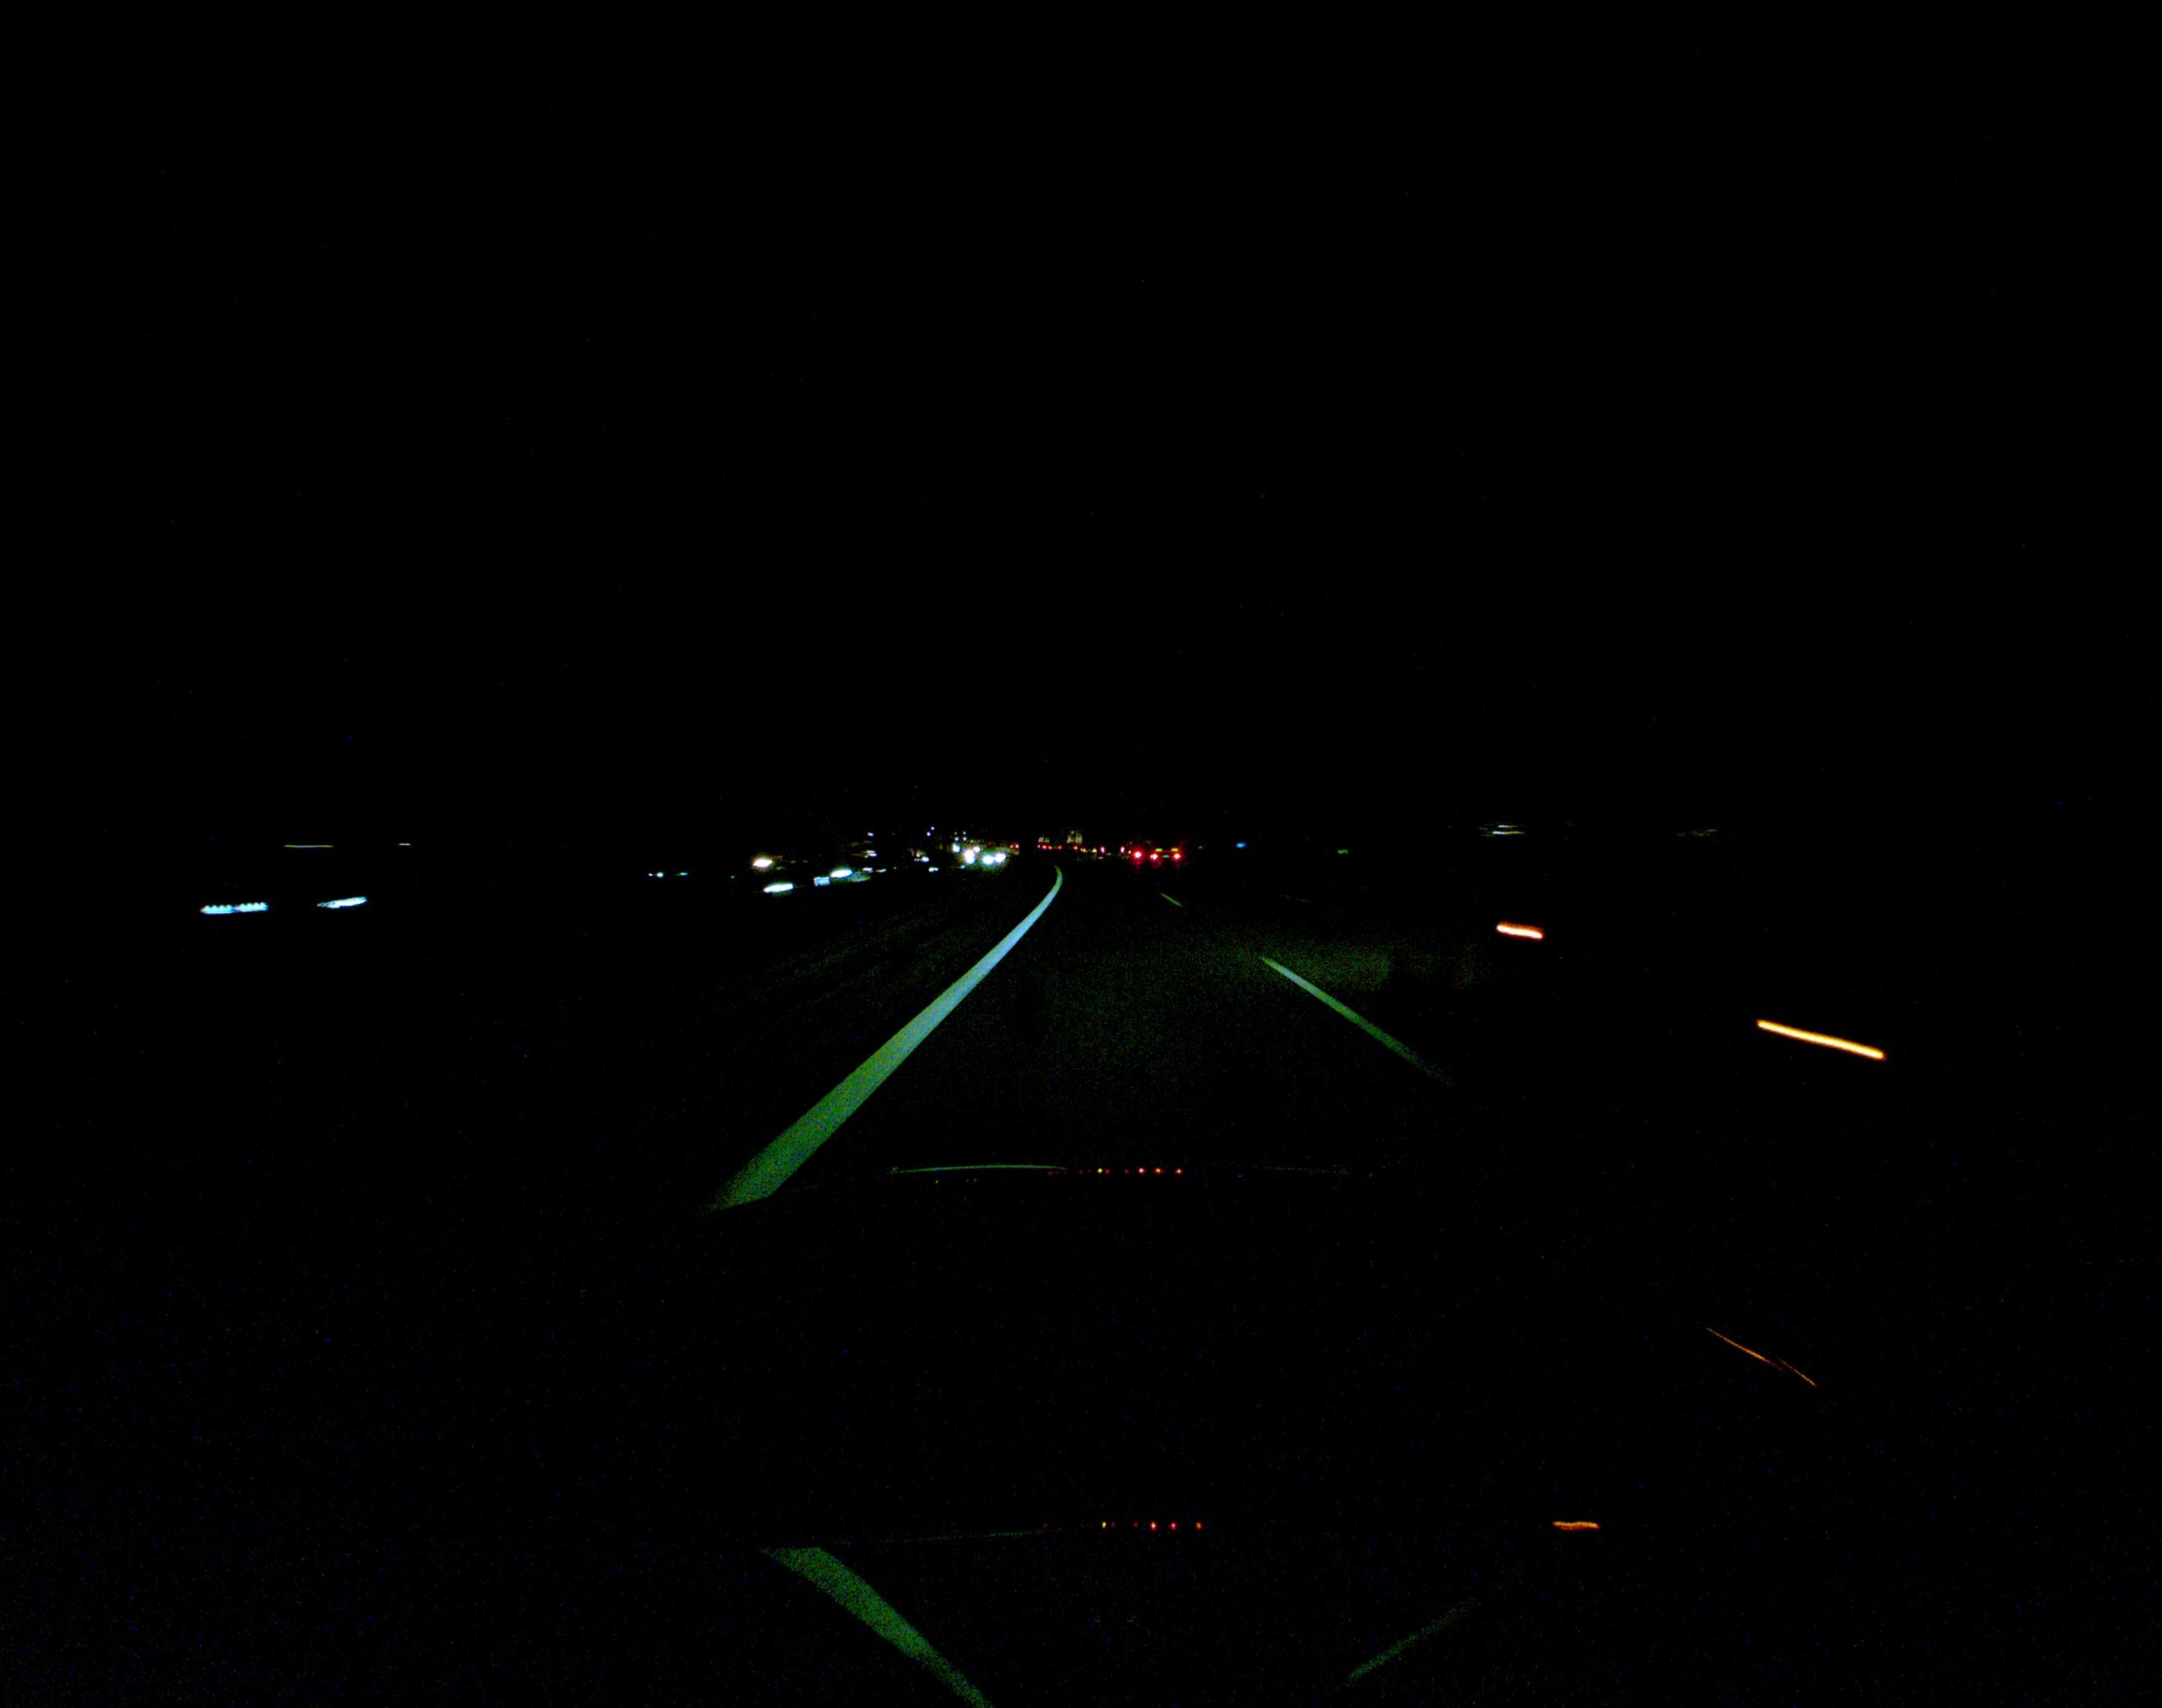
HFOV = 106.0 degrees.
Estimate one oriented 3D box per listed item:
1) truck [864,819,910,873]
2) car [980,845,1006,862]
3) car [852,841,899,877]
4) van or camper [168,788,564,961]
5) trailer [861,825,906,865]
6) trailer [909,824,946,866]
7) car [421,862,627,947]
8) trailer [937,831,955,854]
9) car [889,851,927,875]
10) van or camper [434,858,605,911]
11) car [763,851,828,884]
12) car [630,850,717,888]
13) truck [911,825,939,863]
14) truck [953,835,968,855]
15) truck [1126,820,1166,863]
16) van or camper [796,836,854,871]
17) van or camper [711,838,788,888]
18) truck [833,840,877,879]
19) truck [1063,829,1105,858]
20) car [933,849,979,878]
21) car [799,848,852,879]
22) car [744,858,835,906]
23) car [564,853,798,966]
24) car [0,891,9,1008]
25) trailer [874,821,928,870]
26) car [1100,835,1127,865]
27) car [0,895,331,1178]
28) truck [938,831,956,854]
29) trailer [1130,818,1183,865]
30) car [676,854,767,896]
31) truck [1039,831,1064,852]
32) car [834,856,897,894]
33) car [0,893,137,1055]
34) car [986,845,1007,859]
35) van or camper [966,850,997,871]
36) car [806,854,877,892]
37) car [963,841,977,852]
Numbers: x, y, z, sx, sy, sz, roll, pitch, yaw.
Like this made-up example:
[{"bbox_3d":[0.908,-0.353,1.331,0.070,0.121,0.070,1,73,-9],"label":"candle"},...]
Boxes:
[{"bbox_3d":[-16.082,-0.687,67.881,2.860,4.210,6.095,-1,1,-5],"label":"truck"},{"bbox_3d":[-8.219,-0.092,76.450,1.898,1.492,4.866,-1,0,0],"label":"car"},{"bbox_3d":[-11.302,0.299,45.100,1.672,1.850,4.107,2,-1,-3],"label":"car"},{"bbox_3d":[-14.826,0.317,17.869,2.214,3.003,7.126,-1,1,1],"label":"van or camper"},{"bbox_3d":[-22.516,-1.016,93.570,2.835,4.171,13.260,-3,1,-5],"label":"trailer"},{"bbox_3d":[-18.554,-1.082,99.360,2.837,4.463,14.490,-8,1,-6],"label":"trailer"},{"bbox_3d":[-11.700,0.971,17.474,1.635,1.539,3.999,-1,0,0],"label":"car"},{"bbox_3d":[-24.154,-2.131,145.539,2.822,3.917,8.706,-2,1,-11],"label":"trailer"},{"bbox_3d":[-11.746,0.610,55.565,1.895,1.523,4.341,-3,0,-5],"label":"car"},{"bbox_3d":[-19.161,0.976,28.193,2.214,1.550,5.218,-1,1,1],"label":"van or camper"},{"bbox_3d":[-14.359,0.656,41.241,1.893,1.387,4.345,-3,2,-3],"label":"car"},{"bbox_3d":[-18.950,0.702,38.129,1.805,1.653,4.732,-1,-1,-2],"label":"car"},{"bbox_3d":[-17.838,-1.133,93.402,2.613,4.269,5.945,-1,1,-6],"label":"truck"},{"bbox_3d":[-26.233,-1.861,177.474,3.106,4.097,7.056,2,-1,-8],"label":"truck"},{"bbox_3d":[6.508,-1.292,82.598,2.856,4.076,7.500,-1,1,-4],"label":"truck"},{"bbox_3d":[-20.136,-0.067,64.463,2.577,2.592,7.104,-1,1,-3],"label":"van or camper"},{"bbox_3d":[-19.165,0.425,47.483,1.989,2.656,6.611,-1,1,-2],"label":"van or camper"},{"bbox_3d":[-15.410,0.334,55.755,1.991,2.458,5.041,-1,1,-5],"label":"truck"},{"bbox_3d":[0.250,-1.755,144.045,3.915,4.627,20.949,-1,0,-9],"label":"truck"},{"bbox_3d":[-7.023,0.506,46.118,1.898,1.492,4.866,-1,0,-1],"label":"car"},{"bbox_3d":[-15.015,0.522,48.123,1.882,1.676,5.072,-1,1,-4],"label":"car"},{"bbox_3d":[-10.101,0.931,28.469,1.691,1.463,3.486,-1,1,4],"label":"car"},{"bbox_3d":[-7.199,0.886,15.355,1.800,1.741,4.871,-1,0,2],"label":"car"},{"bbox_3d":[-15.157,1.282,8.645,1.635,1.539,4.437,-1,0,0],"label":"car"},{"bbox_3d":[-16.764,-0.831,77.086,2.870,4.183,14.502,-1,1,-4],"label":"trailer"},{"bbox_3d":[3.009,-0.342,75.587,2.328,2.640,5.249,1,-1,2],"label":"car"},{"bbox_3d":[-7.287,1.169,4.927,1.674,1.566,4.002,-1,0,2],"label":"car"},{"bbox_3d":[-23.419,-2.071,141.768,2.829,3.916,4.916,-2,1,-11],"label":"truck"},{"bbox_3d":[6.934,-1.199,76.832,2.849,4.067,13.186,-1,1,-4],"label":"trailer"},{"bbox_3d":[-15.219,0.855,34.813,1.922,1.653,4.732,-1,-1,-2],"label":"car"},{"bbox_3d":[-6.771,-2.760,183.919,3.345,4.475,13.859,2,0,-11],"label":"truck"},{"bbox_3d":[-7.776,0.727,29.653,1.413,1.256,3.129,-1,1,0],"label":"car"},{"bbox_3d":[-11.083,1.177,6.608,1.634,1.483,4.366,-1,0,2],"label":"car"},{"bbox_3d":[-9.323,-0.266,90.143,1.898,1.492,4.866,-1,0,-1],"label":"car"},{"bbox_3d":[-7.407,0.476,61.148,1.734,1.465,4.866,-1,0,-1],"label":"van or camper"},{"bbox_3d":[-10.731,0.802,36.865,1.701,1.530,4.857,-1,1,1],"label":"car"},{"bbox_3d":[-18.617,-1.245,136.916,1.872,1.923,4.862,-1,0,-3],"label":"car"}]
